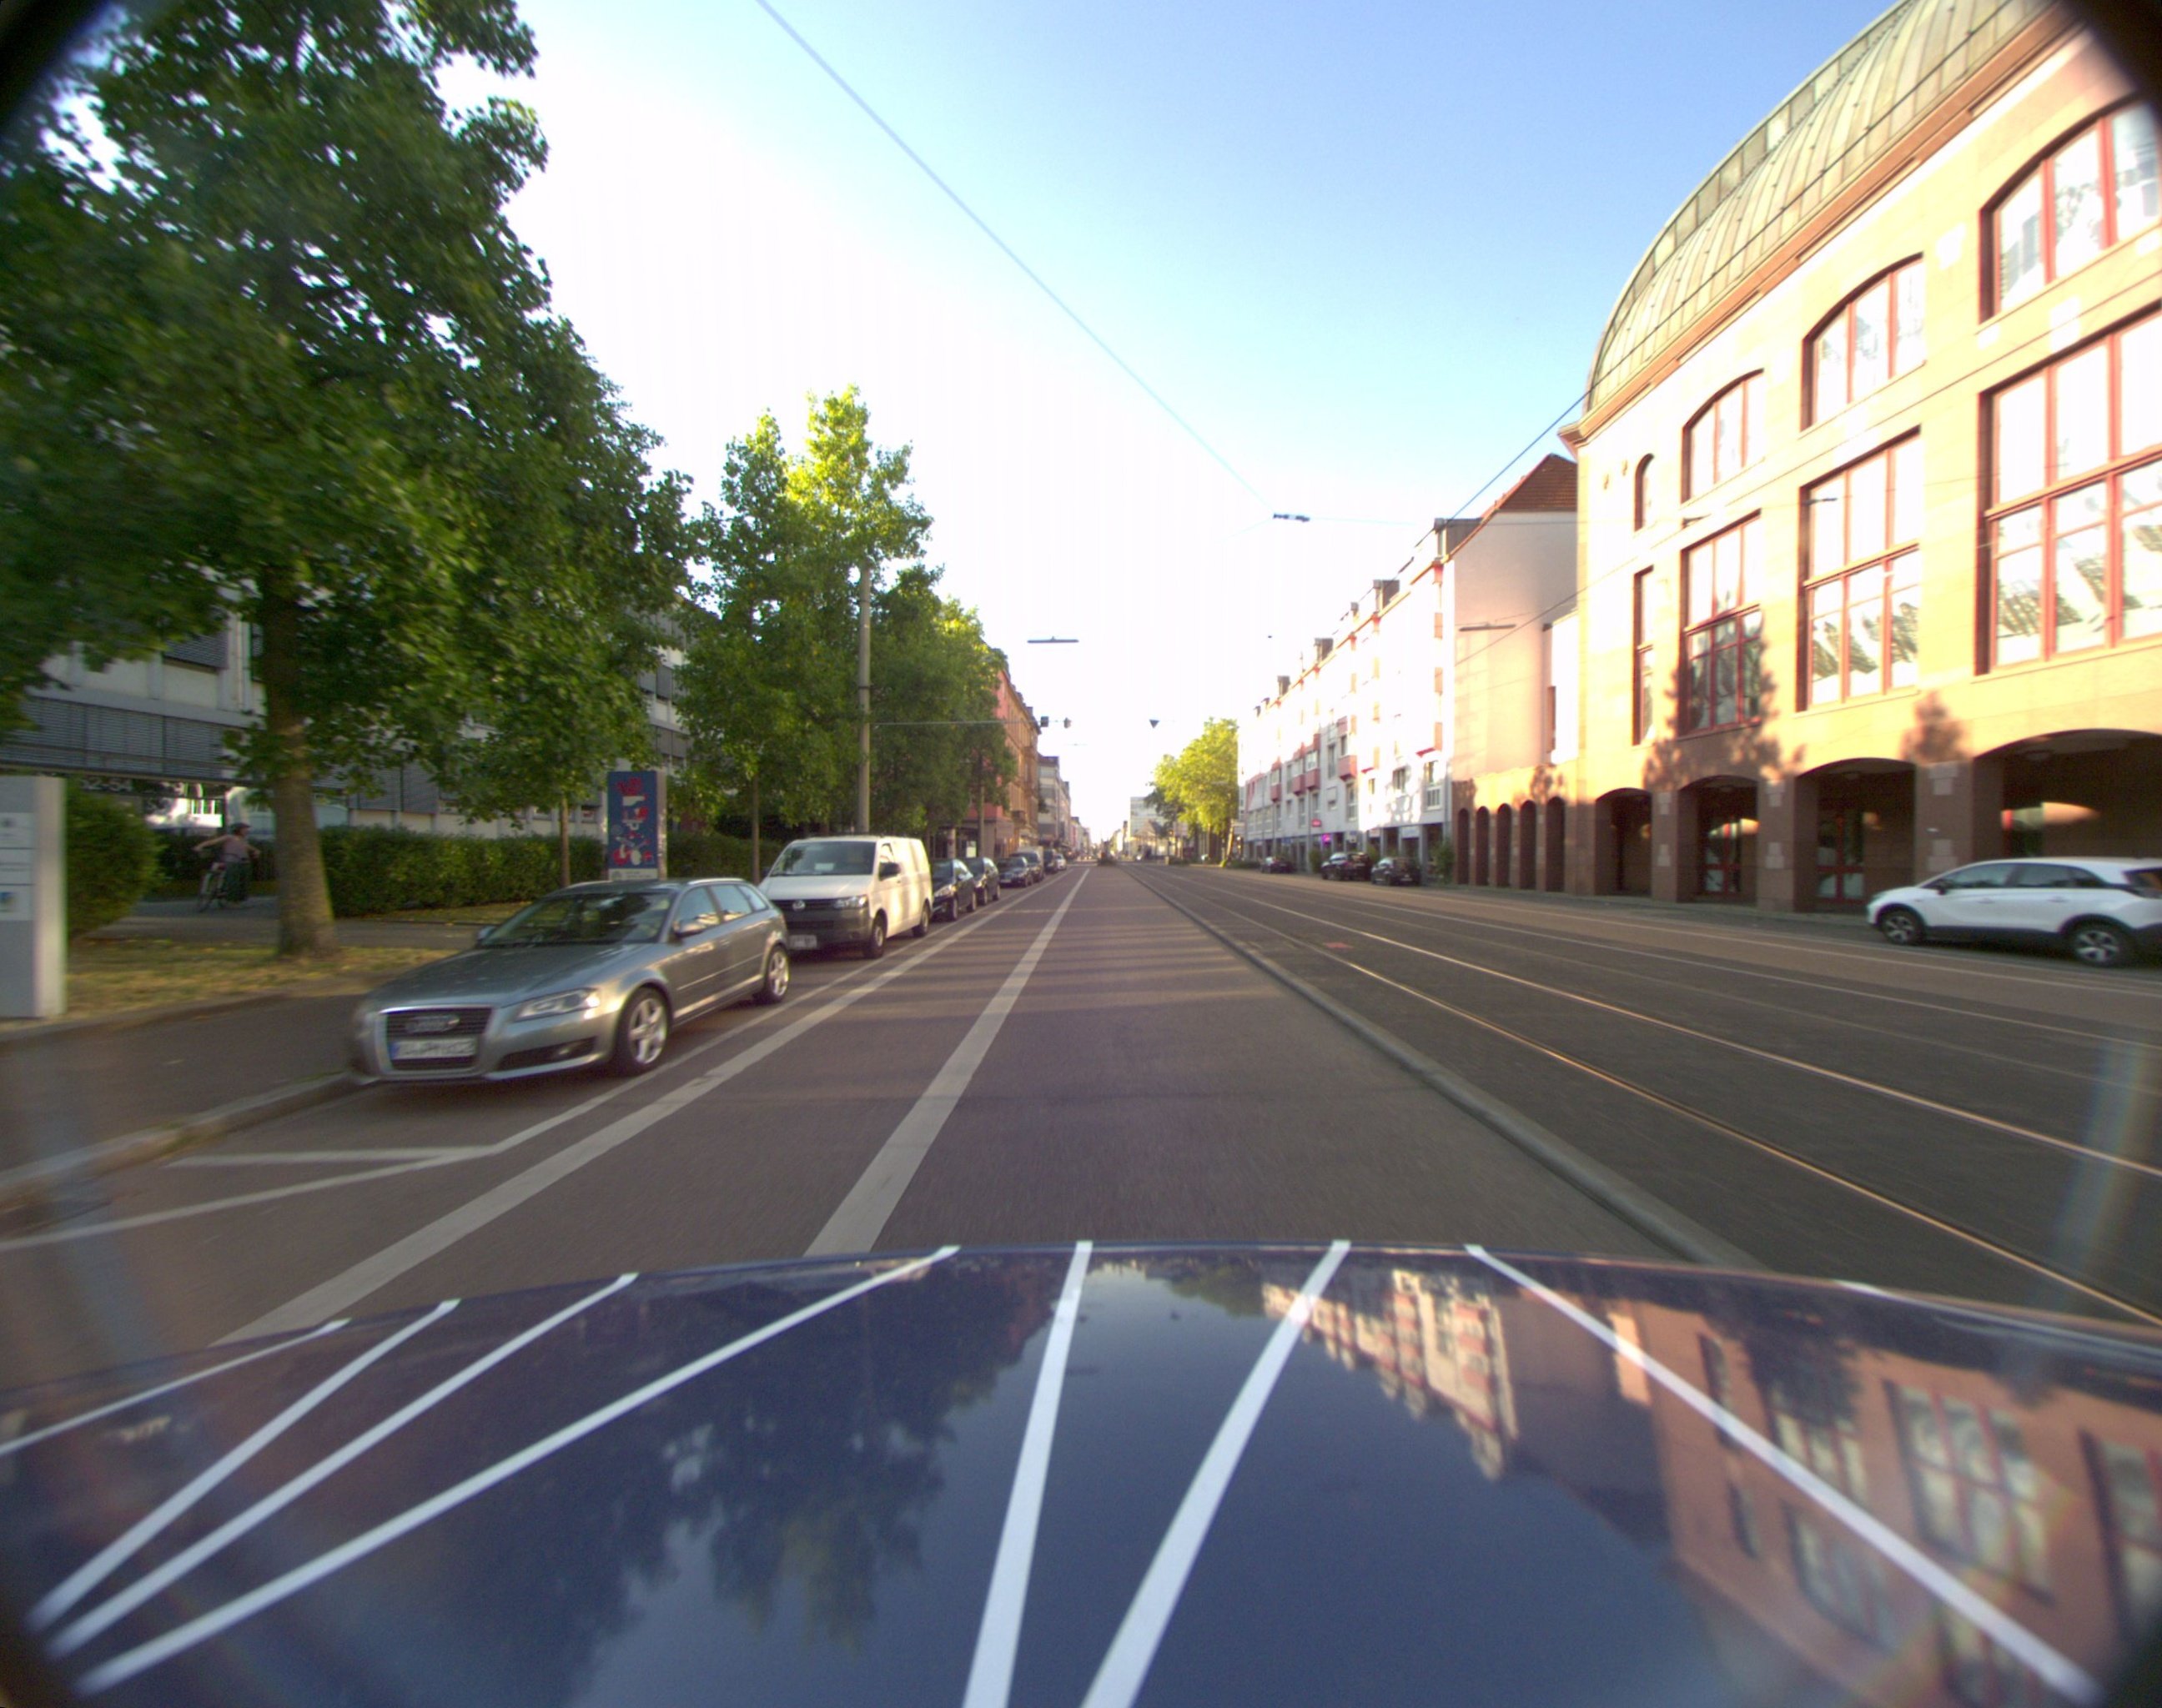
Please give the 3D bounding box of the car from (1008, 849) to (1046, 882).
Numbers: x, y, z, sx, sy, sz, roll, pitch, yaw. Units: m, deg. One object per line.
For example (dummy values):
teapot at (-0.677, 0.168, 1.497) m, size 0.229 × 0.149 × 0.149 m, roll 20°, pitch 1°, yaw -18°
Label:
car at (-3.000, 0.624, 43.018) m, size 1.784 × 1.735 × 4.475 m, roll -1°, pitch 0°, yaw 1°

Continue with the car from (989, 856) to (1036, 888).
car at (-3.226, 0.809, 36.397) m, size 1.784 × 1.420 × 4.213 m, roll -1°, pitch 0°, yaw 1°

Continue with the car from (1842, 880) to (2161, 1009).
car at (15.521, 1.318, 12.543) m, size 1.599 × 1.581 × 4.277 m, roll -2°, pitch 0°, yaw 0°

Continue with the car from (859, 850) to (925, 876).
car at (-13.751, 0.677, 55.553) m, size 4.367 × 1.662 × 1.589 m, roll 3°, pitch 0°, yaw -2°

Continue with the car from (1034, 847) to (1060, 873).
car at (-2.597, 0.417, 58.590) m, size 1.697 × 1.832 × 4.695 m, roll -1°, pitch 1°, yaw 1°

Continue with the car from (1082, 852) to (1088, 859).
car at (0.989, 0.339, 188.399) m, size 1.420 × 1.612 × 3.627 m, roll -1°, pitch 0°, yaw 1°

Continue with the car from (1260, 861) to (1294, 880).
car at (16.725, 1.392, 65.054) m, size 1.829 × 1.500 × 4.561 m, roll -1°, pitch 0°, yaw 2°

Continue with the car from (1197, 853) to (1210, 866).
car at (16.598, 0.757, 102.759) m, size 1.383 × 1.663 × 2.882 m, roll 1°, pitch 0°, yaw 2°

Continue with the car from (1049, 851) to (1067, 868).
car at (-2.079, 0.500, 70.172) m, size 1.420 × 1.425 × 3.872 m, roll -1°, pitch 0°, yaw 1°

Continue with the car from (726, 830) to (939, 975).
car at (-3.937, 0.692, 13.072) m, size 1.881 × 2.009 × 4.906 m, roll -1°, pitch 0°, yaw 2°

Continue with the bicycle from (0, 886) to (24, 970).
bicycle at (-13.208, 0.854, 8.491) m, size 1.622 × 0.954 × 0.367 m, roll 0°, pitch 1°, yaw -28°

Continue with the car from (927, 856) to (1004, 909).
car at (-3.569, 0.843, 24.084) m, size 1.597 × 1.485 × 3.902 m, roll -1°, pitch 1°, yaw 3°

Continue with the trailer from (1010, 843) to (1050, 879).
trailer at (-3.138, 0.408, 47.893) m, size 1.783 × 2.136 × 5.317 m, roll -1°, pitch 0°, yaw 4°

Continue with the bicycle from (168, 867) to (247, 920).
bicycle at (-16.400, 0.727, 14.263) m, size 1.247 × 0.954 × 0.368 m, roll 1°, pitch 1°, yaw 10°

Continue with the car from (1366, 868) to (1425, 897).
car at (16.239, 1.441, 39.409) m, size 1.646 × 1.392 × 3.684 m, roll -1°, pitch 0°, yaw 2°

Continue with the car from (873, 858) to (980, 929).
car at (-3.717, 0.900, 18.975) m, size 1.687 × 1.484 × 3.911 m, roll -2°, pitch 1°, yaw 2°

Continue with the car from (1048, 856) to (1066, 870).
car at (-2.049, 0.737, 65.265) m, size 1.420 × 1.183 × 3.087 m, roll -1°, pitch 0°, yaw 1°

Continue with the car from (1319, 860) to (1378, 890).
car at (16.145, 1.241, 46.084) m, size 1.964 × 1.690 × 4.561 m, roll -1°, pitch 0°, yaw 0°

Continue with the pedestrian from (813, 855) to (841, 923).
pedestrian at (-6.503, 0.889, 19.496) m, size 0.494 × 1.703 × 0.437 m, roll 3°, pitch 0°, yaw 1°

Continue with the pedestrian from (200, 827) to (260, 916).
pedestrian at (-16.488, 0.331, 14.734) m, size 0.568 × 1.680 × 0.548 m, roll 1°, pitch 0°, yaw 8°

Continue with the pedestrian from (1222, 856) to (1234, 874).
pedestrian at (15.052, 1.149, 77.779) m, size 1.096 × 1.768 × 1.253 m, roll 1°, pitch 0°, yaw 6°

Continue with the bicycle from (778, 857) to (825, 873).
bicycle at (-18.846, 0.730, 51.279) m, size 2.805 × 1.052 × 0.822 m, roll 1°, pitch 0°, yaw -3°

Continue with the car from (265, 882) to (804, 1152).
car at (-4.063, 1.068, 6.683) m, size 1.678 × 1.396 × 4.167 m, roll -1°, pitch 1°, yaw 0°

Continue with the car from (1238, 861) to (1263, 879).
car at (17.978, 1.653, 80.755) m, size 1.931 × 1.787 × 4.385 m, roll 0°, pitch 0°, yaw 5°
